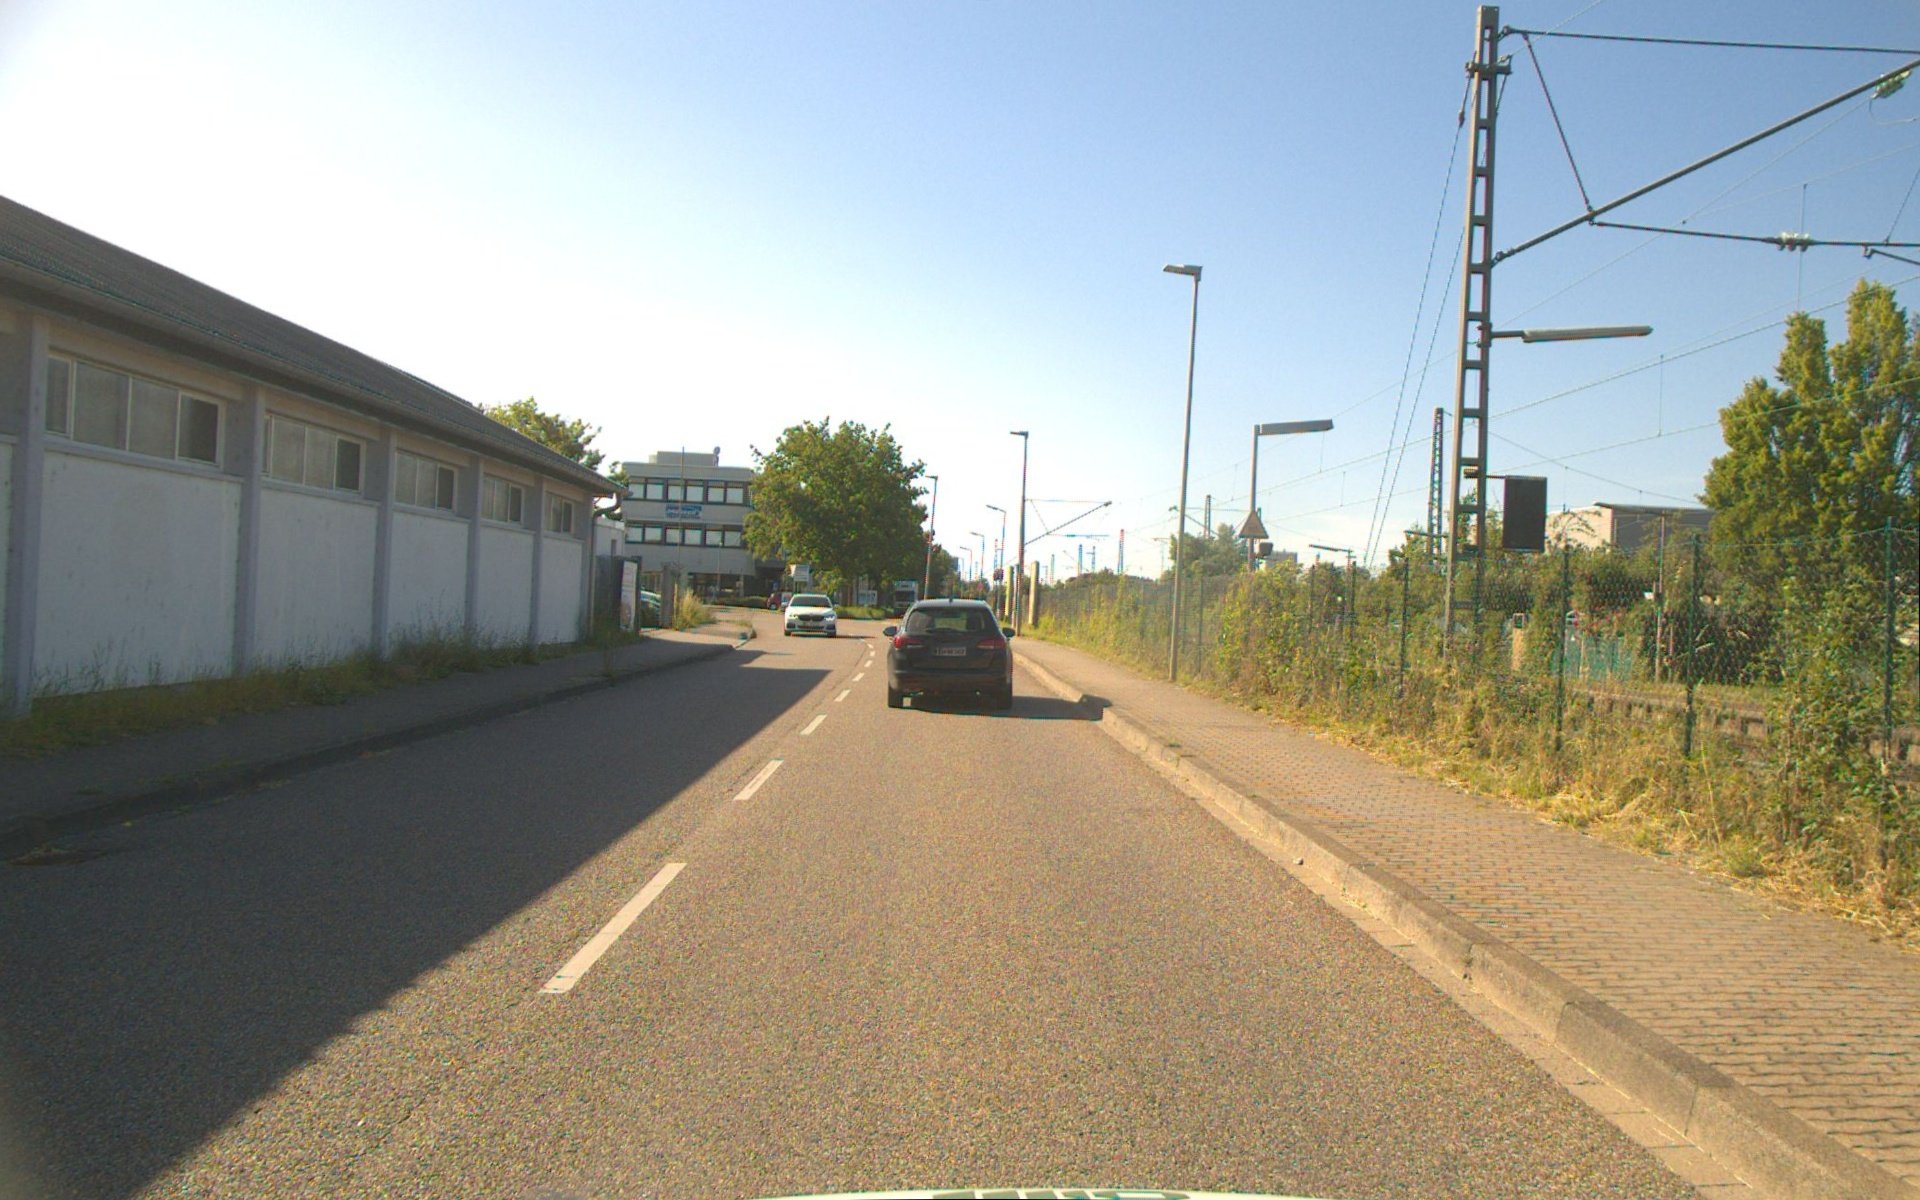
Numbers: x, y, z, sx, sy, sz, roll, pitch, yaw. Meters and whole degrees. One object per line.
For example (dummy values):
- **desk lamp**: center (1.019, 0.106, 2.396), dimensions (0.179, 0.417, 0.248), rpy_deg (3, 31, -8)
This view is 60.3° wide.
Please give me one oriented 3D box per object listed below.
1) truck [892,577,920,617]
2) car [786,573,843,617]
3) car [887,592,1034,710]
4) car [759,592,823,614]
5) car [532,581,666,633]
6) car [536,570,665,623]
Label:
- **truck**: center (-5.783, -0.260, 176.481), dimensions (2.561, 3.953, 13.524), rpy_deg (3, 0, -3)
- **car**: center (-5.210, -0.168, 59.620), dimensions (1.772, 1.504, 4.686), rpy_deg (1, 0, -2)
- **car**: center (-0.038, 0.680, 23.991), dimensions (1.903, 1.515, 4.564), rpy_deg (1, 0, -1)
- **car**: center (-13.476, 0.230, 131.931), dimensions (4.808, 1.510, 2.001), rpy_deg (2, 1, 3)
- **car**: center (-12.146, 0.234, 55.856), dimensions (4.311, 1.533, 1.835), rpy_deg (2, 0, -11)
- **car**: center (-12.634, -0.127, 58.346), dimensions (4.311, 1.677, 1.835), rpy_deg (2, 0, -11)
